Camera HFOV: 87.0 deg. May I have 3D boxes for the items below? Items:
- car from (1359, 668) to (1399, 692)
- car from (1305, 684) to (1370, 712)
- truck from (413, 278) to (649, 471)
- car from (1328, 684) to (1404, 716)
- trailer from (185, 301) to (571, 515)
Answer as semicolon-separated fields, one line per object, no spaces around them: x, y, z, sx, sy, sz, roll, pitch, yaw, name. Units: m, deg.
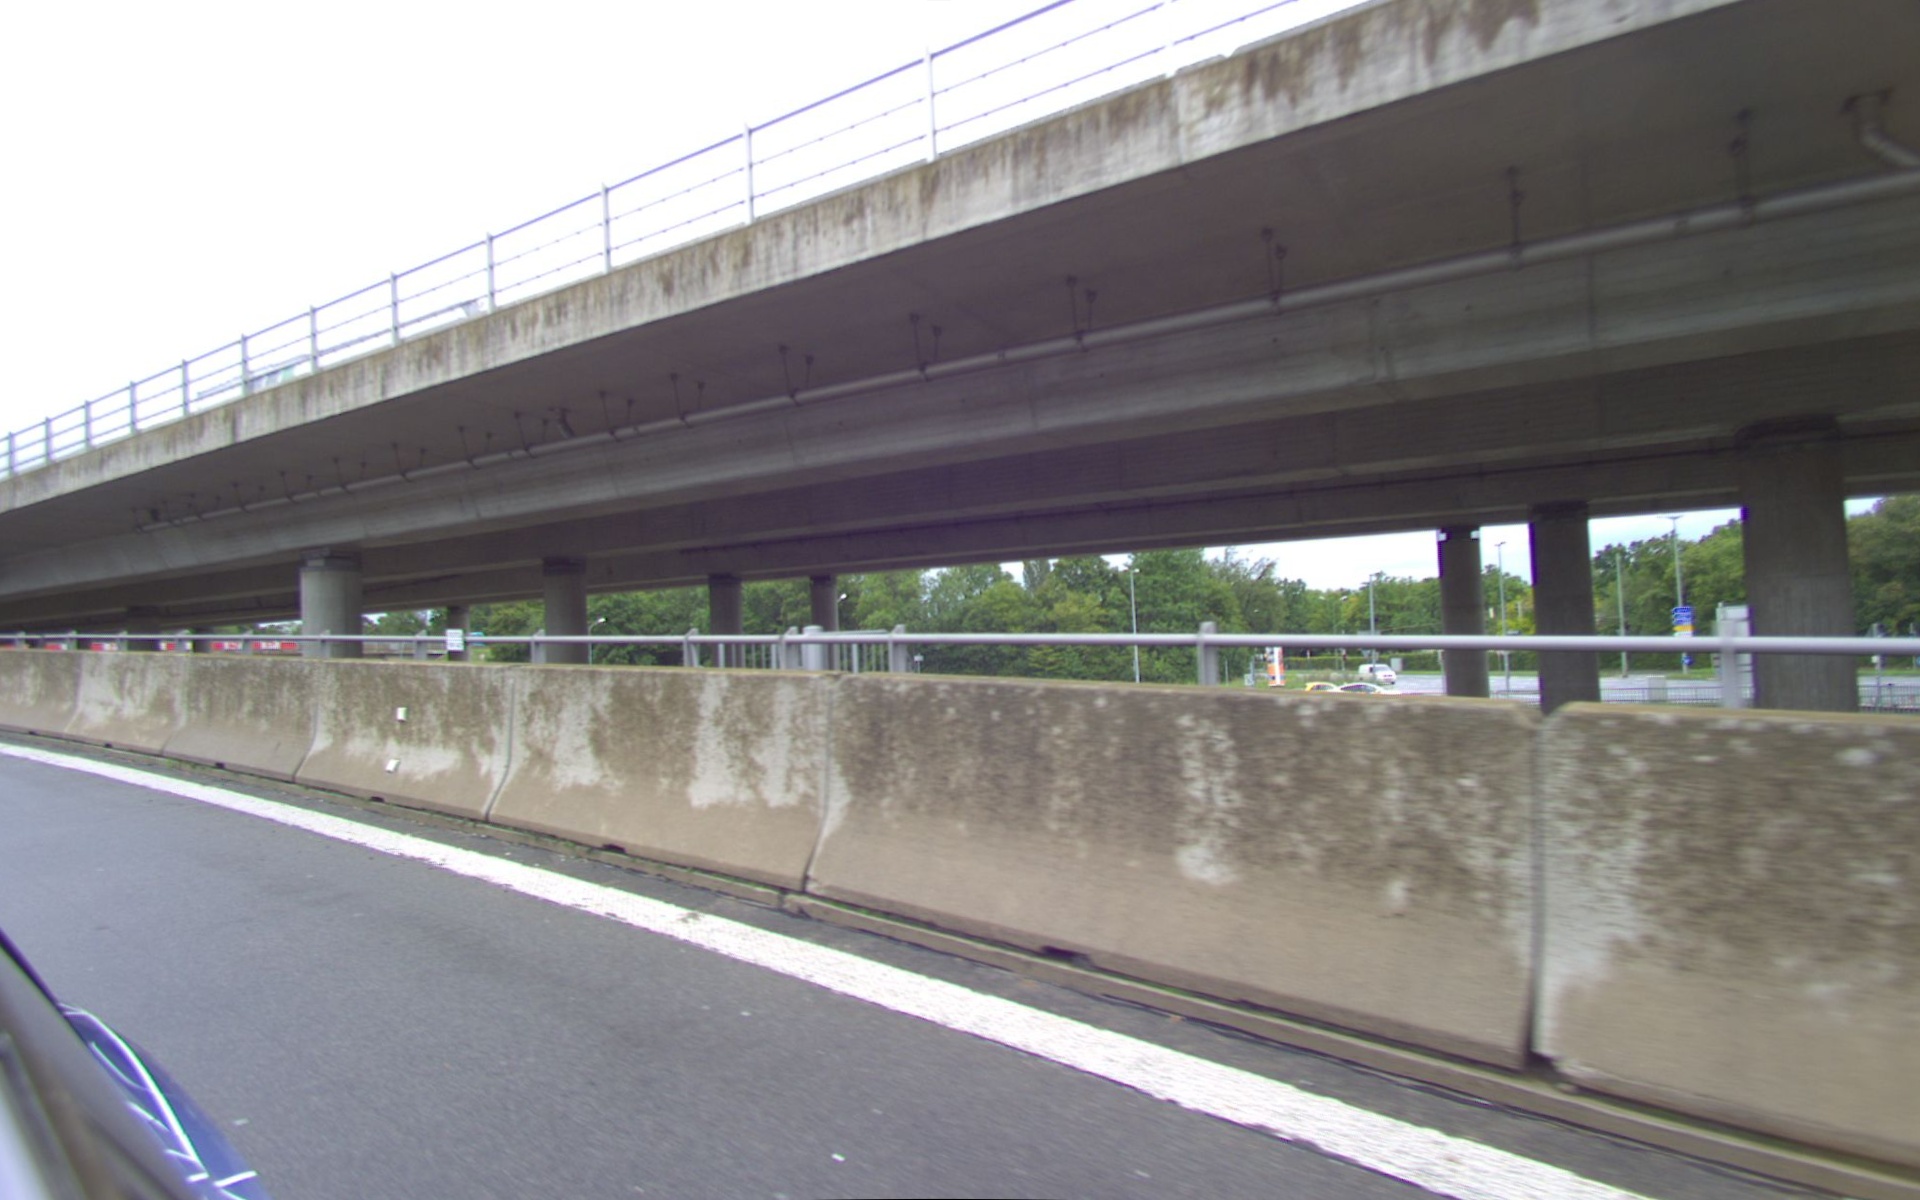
40.677;7.743;98.330;1.972;2.029;4.556;0;-2;0;car
25.453;6.624;68.208;3.975;1.630;1.834;-3;0;24;car
-10.439;-5.242;24.568;5.173;3.270;2.571;-5;-2;30;truck
25.709;6.329;64.181;4.339;1.763;1.796;-3;0;24;car
-16.682;-4.867;28.198;14.004;3.323;2.639;-4;-2;30;trailer
